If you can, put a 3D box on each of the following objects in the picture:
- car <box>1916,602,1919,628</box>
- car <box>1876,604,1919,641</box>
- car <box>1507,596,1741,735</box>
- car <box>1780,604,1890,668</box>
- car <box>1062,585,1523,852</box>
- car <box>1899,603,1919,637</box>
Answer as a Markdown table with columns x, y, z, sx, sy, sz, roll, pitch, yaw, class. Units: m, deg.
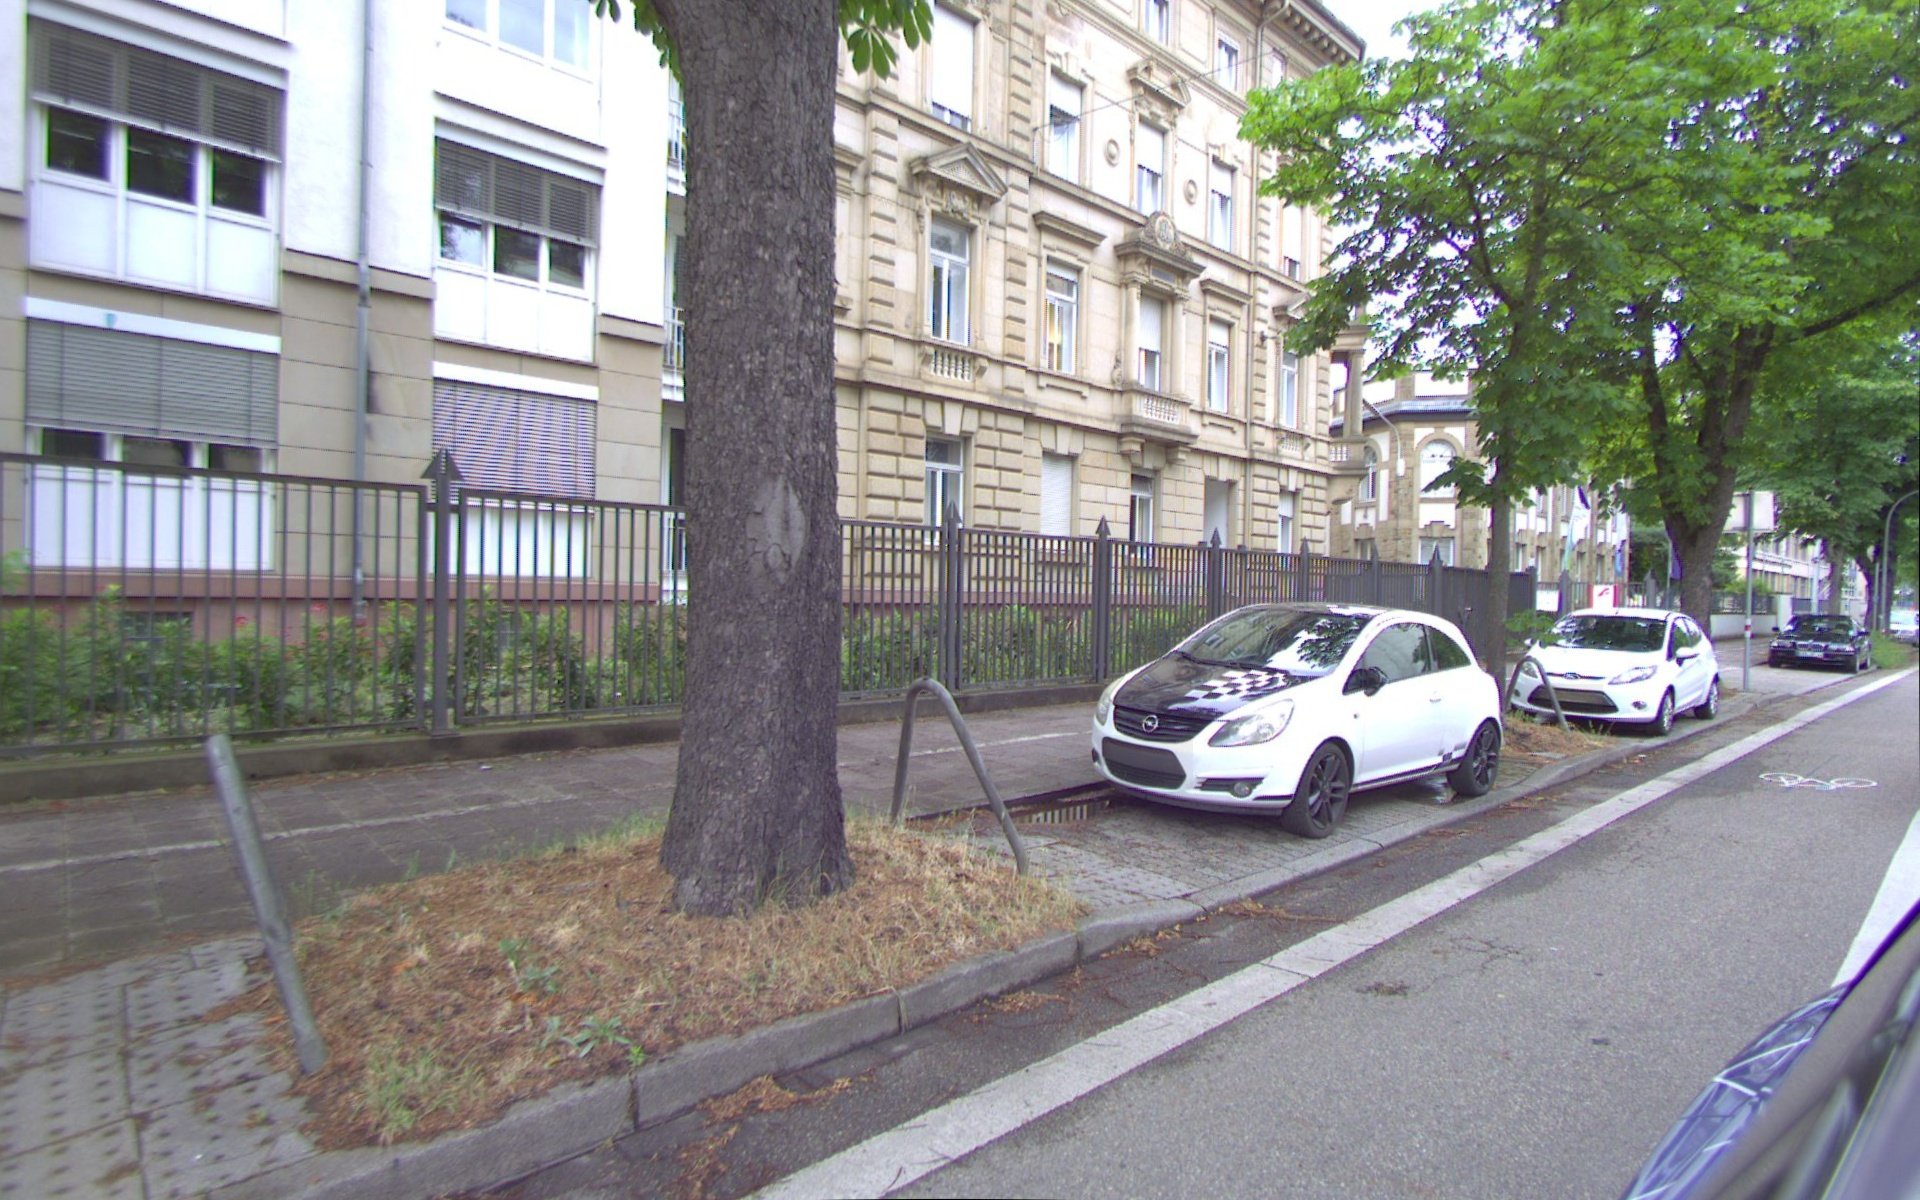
| x | y | z | sx | sy | sz | roll | pitch | yaw | class |
| --- | --- | --- | --- | --- | --- | --- | --- | --- | --- |
| 52.293 | 0.833 | 53.952 | 3.771 | 1.387 | 1.605 | 0 | 3 | -42 | car |
| 38.139 | 0.884 | 40.623 | 3.771 | 1.387 | 1.605 | 0 | 3 | -42 | car |
| 8.672 | 0.732 | 13.108 | 3.700 | 1.453 | 1.630 | 0 | 3 | -42 | car |
| 22.069 | 0.854 | 25.484 | 3.771 | 1.387 | 1.605 | 0 | 3 | -42 | car |
| 2.639 | 0.679 | 7.617 | 3.711 | 1.453 | 1.605 | 0 | 3 | -42 | car |
| 43.504 | 0.920 | 45.449 | 3.771 | 1.442 | 1.605 | 0 | 3 | -42 | car |
